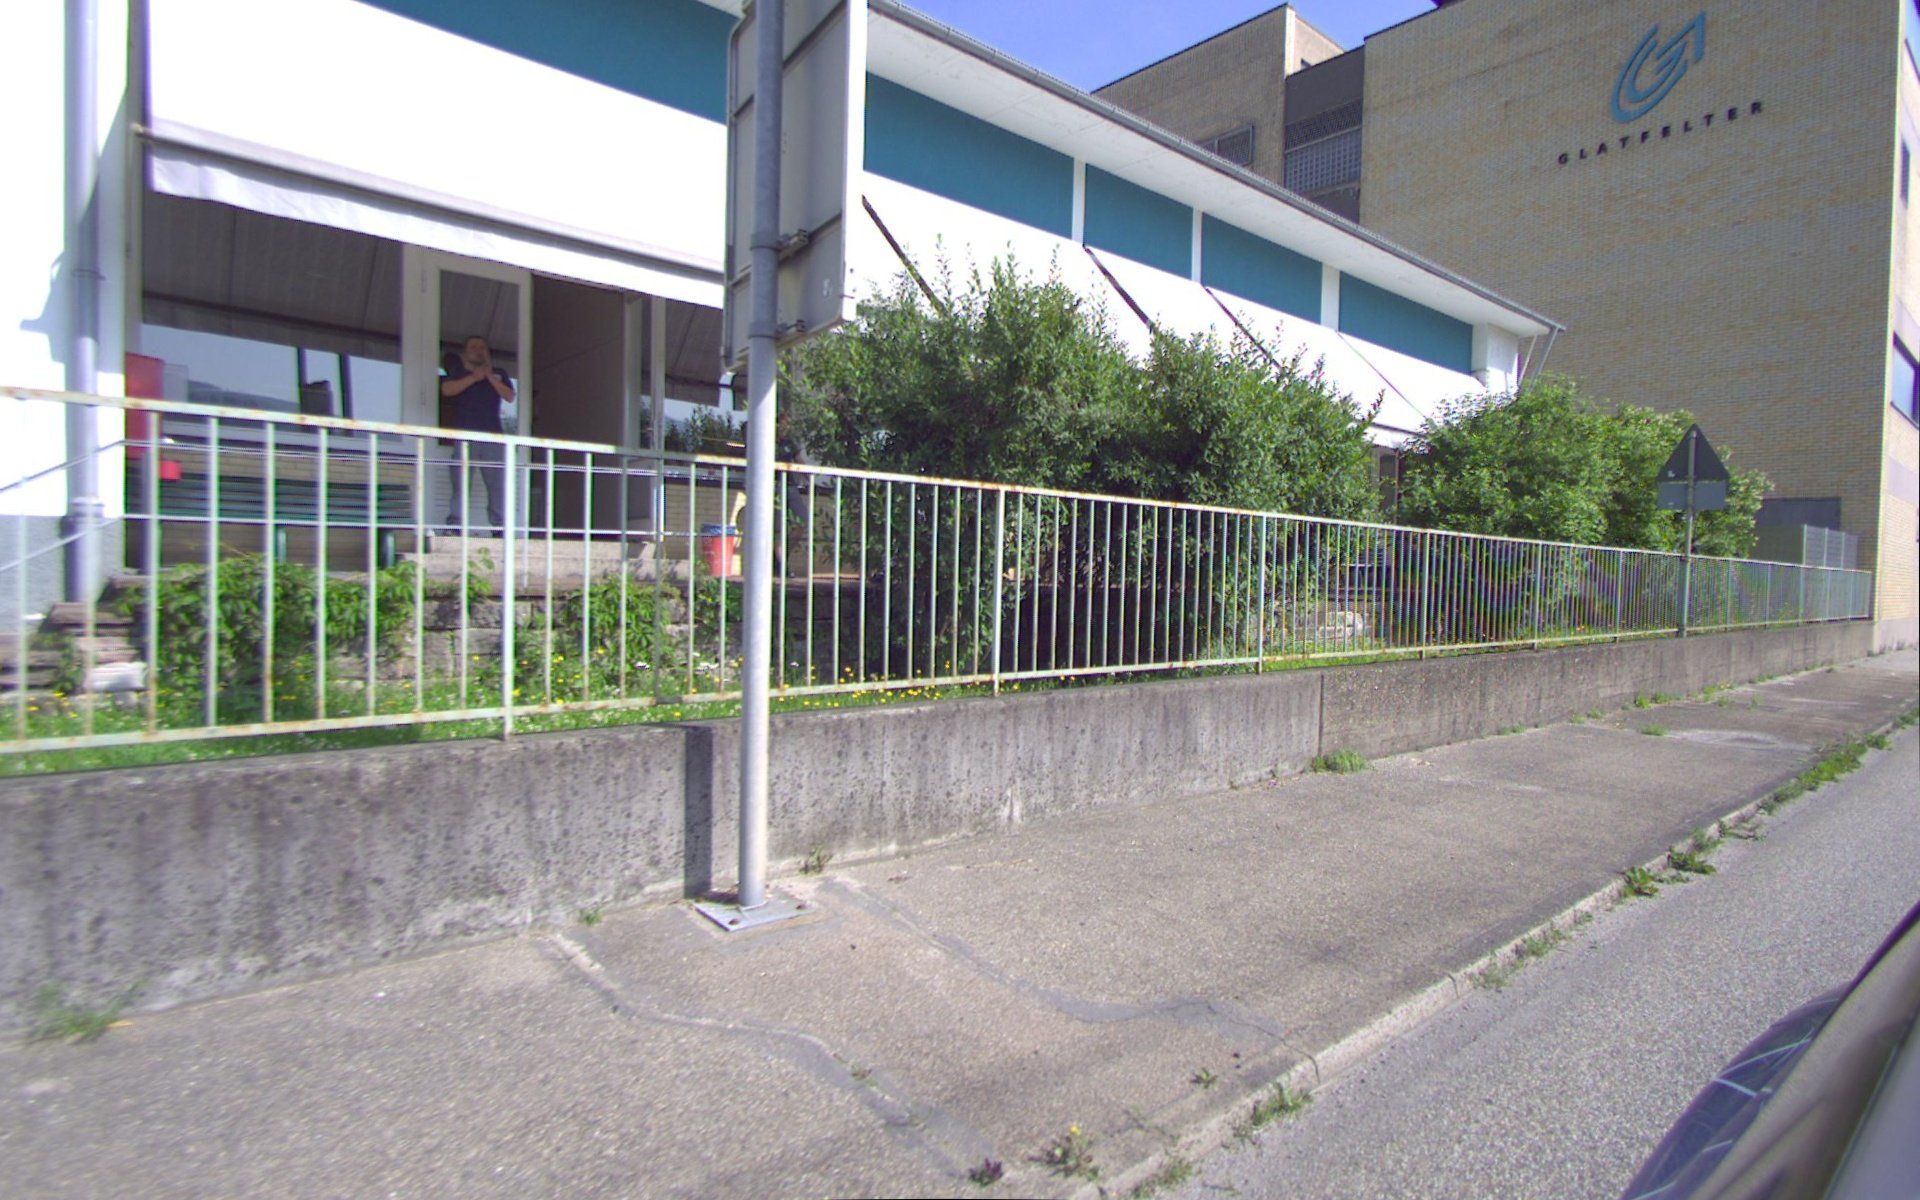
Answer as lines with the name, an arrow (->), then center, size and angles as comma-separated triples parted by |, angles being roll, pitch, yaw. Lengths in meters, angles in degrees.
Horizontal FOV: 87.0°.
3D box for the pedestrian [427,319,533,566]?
pedestrian -> -4.243, -1.330, 8.931 | 0.669, 2.039, 0.736 | 0, 1, -40
